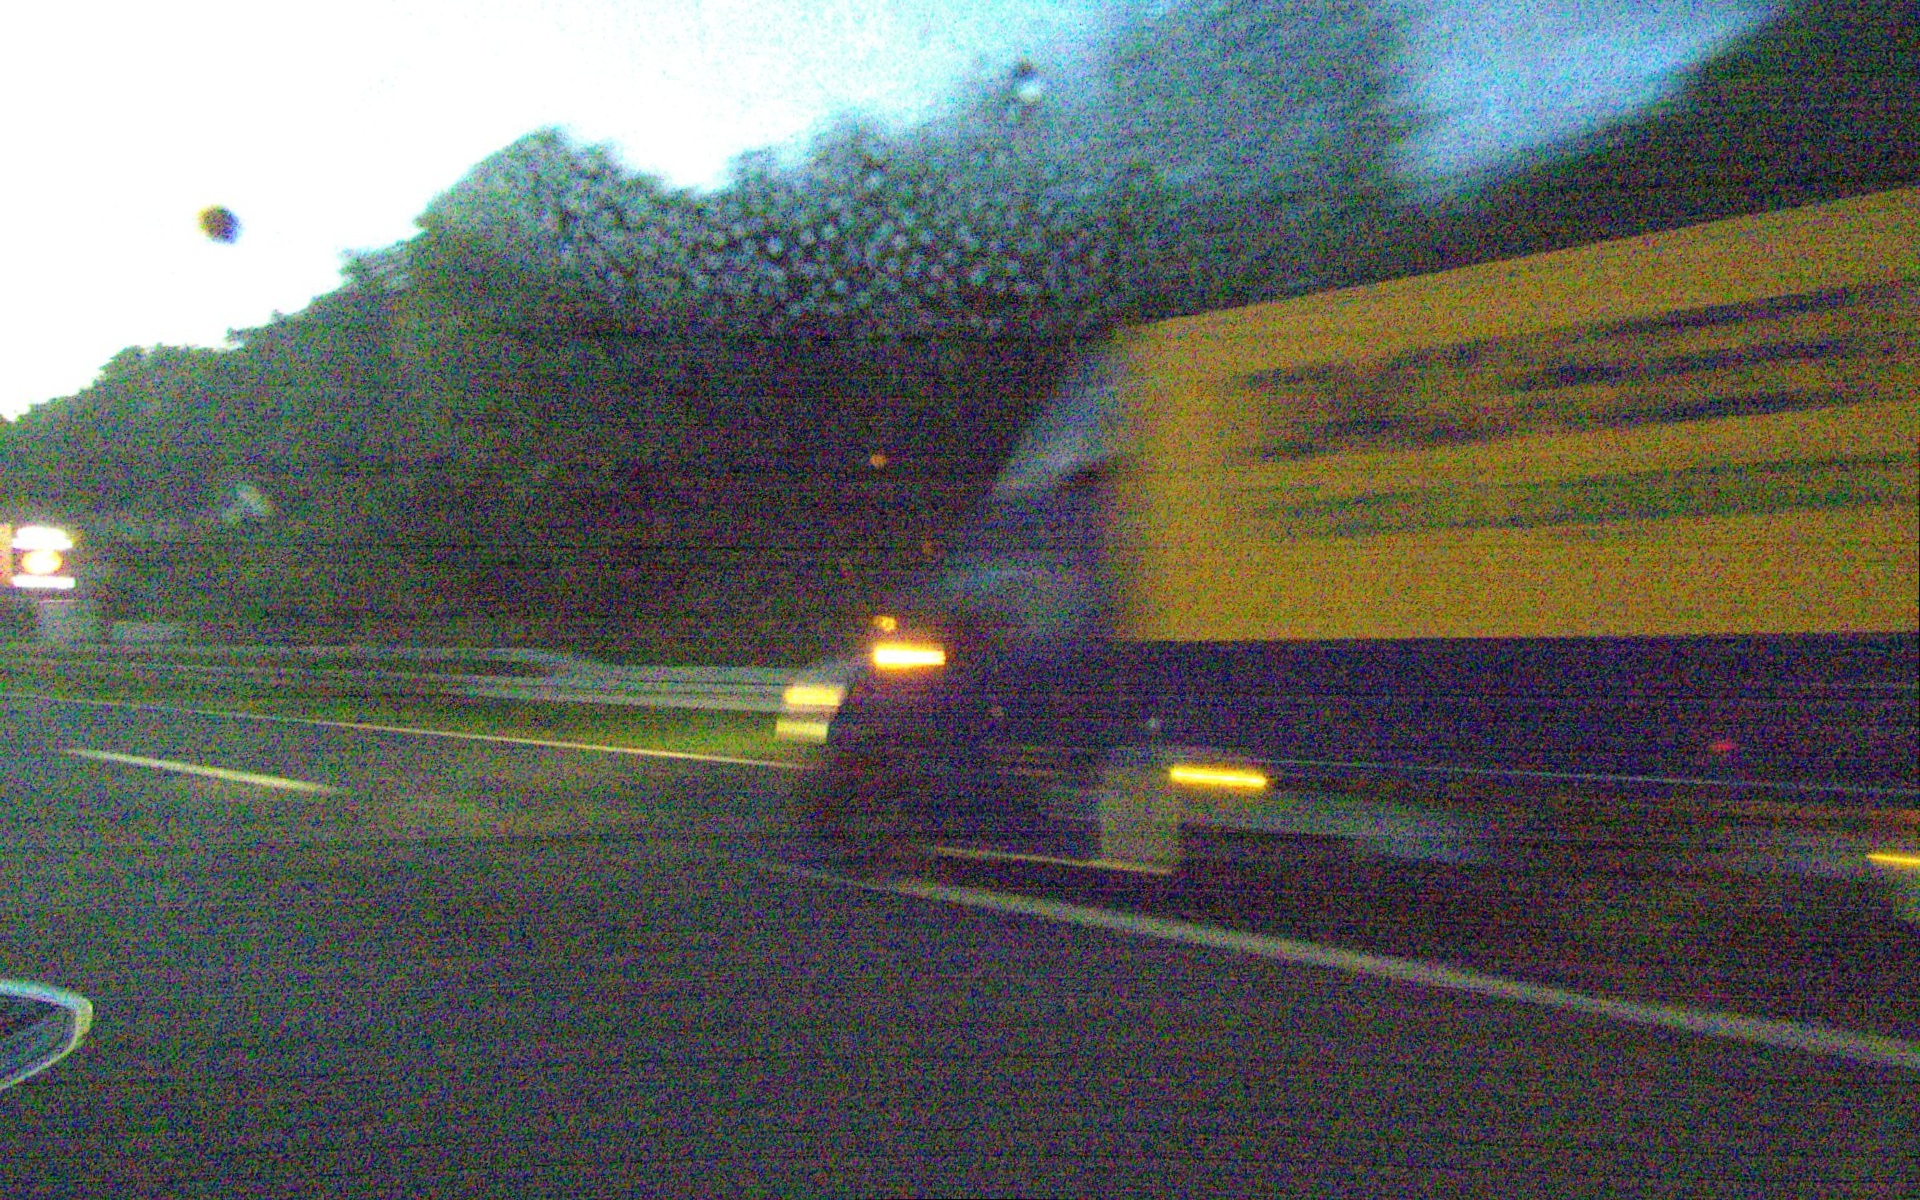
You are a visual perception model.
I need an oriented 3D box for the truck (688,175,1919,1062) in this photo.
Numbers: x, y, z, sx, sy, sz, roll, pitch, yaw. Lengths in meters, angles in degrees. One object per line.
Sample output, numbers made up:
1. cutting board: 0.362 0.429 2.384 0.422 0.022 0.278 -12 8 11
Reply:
1. truck: 1.622 0.120 5.723 6.534 3.010 2.265 -1 -2 31
